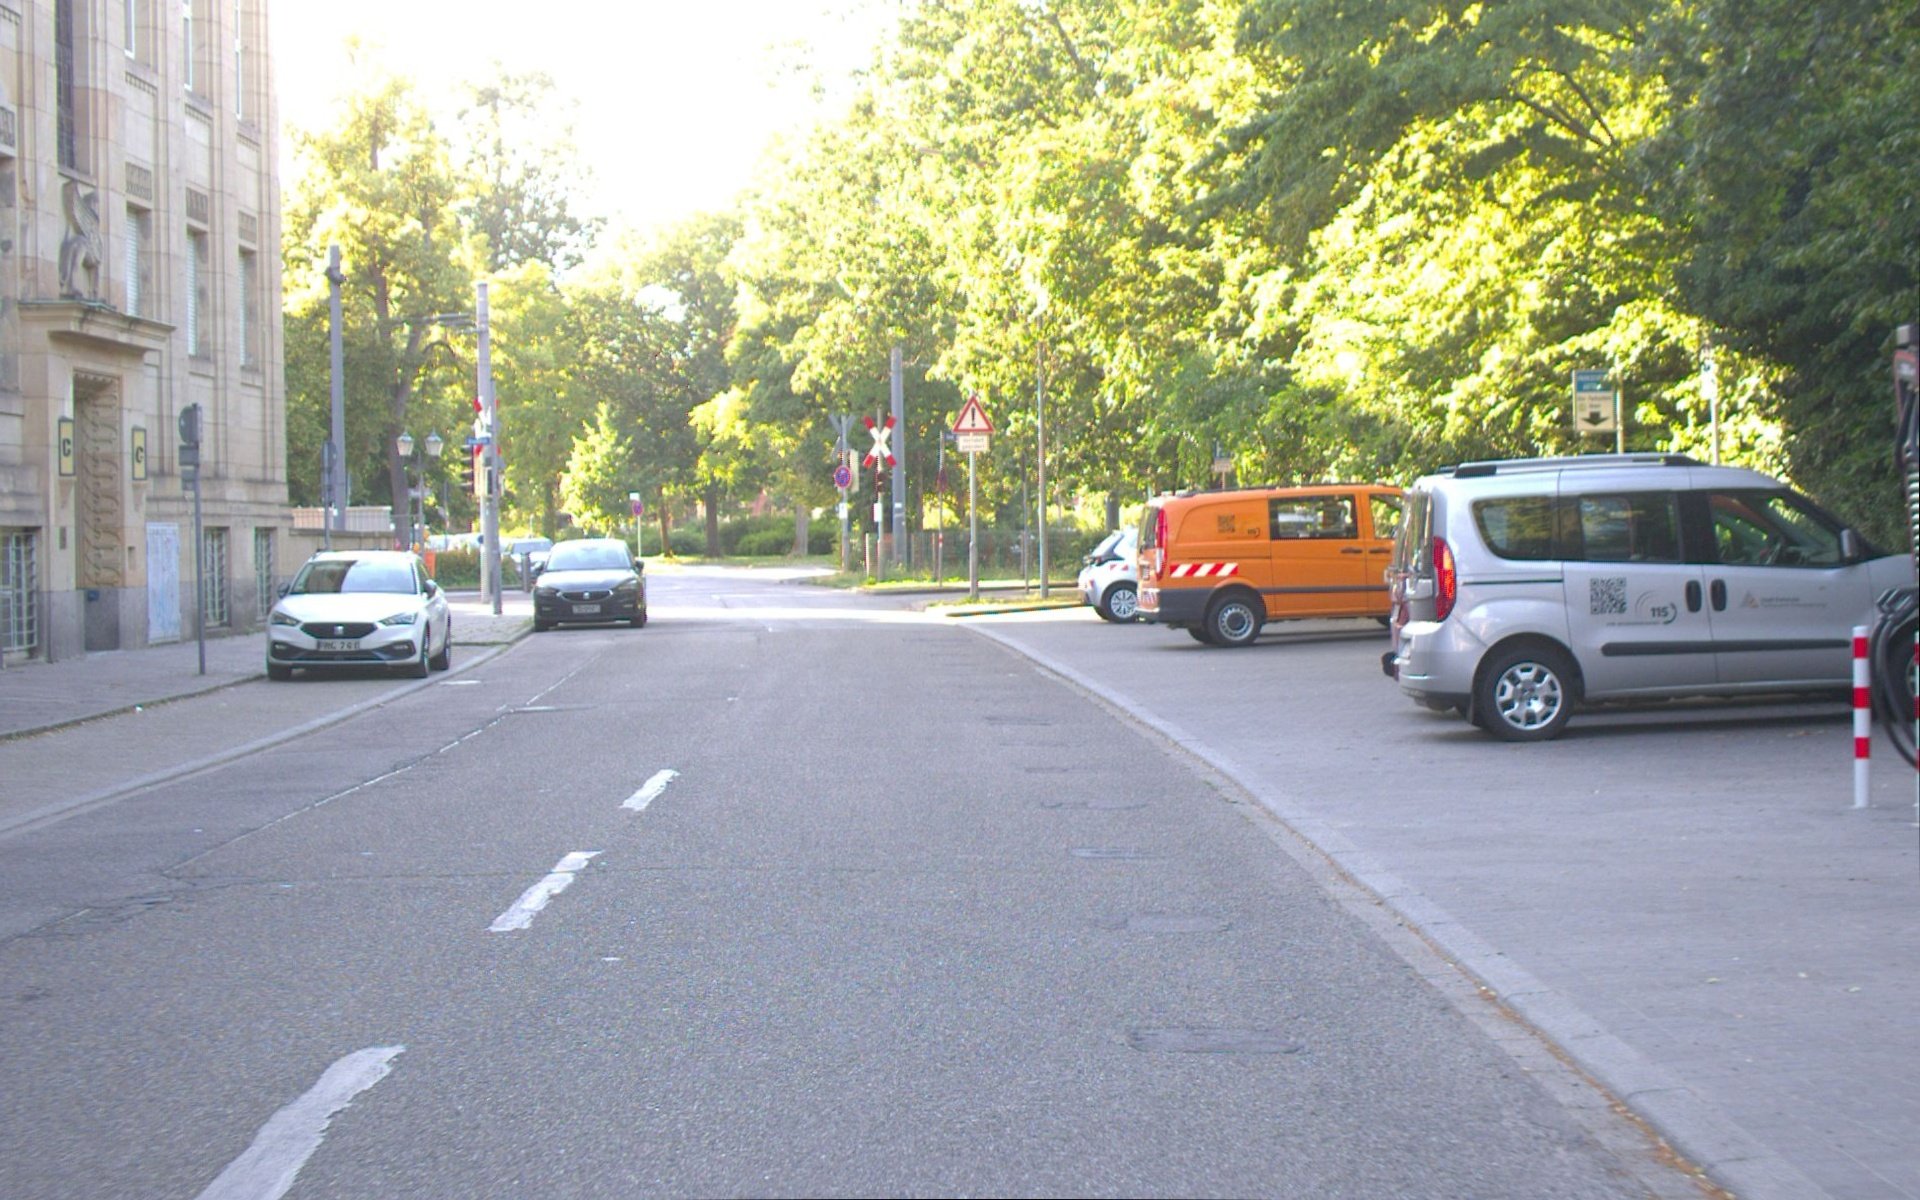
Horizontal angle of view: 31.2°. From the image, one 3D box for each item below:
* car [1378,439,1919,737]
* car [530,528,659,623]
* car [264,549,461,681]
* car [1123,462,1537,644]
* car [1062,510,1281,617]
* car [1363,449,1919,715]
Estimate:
[{"bbox_3d":[5.169,-0.109,23.948,4.229,1.853,2.000,-2,1,1],"label":"car"},{"bbox_3d":[-6.058,-0.438,57.360,1.878,1.461,4.374,-1,2,-3],"label":"car"},{"bbox_3d":[-6.895,0.134,40.030,1.727,1.392,4.374,-1,1,-3],"label":"car"},{"bbox_3d":[4.618,-0.608,43.295,4.817,2.006,1.802,-3,1,-6],"label":"car"},{"bbox_3d":[3.291,-0.576,53.818,3.143,1.498,1.541,-3,1,-6],"label":"car"},{"bbox_3d":[5.245,-0.154,26.586,4.024,1.829,1.614,-2,1,1],"label":"car"}]
